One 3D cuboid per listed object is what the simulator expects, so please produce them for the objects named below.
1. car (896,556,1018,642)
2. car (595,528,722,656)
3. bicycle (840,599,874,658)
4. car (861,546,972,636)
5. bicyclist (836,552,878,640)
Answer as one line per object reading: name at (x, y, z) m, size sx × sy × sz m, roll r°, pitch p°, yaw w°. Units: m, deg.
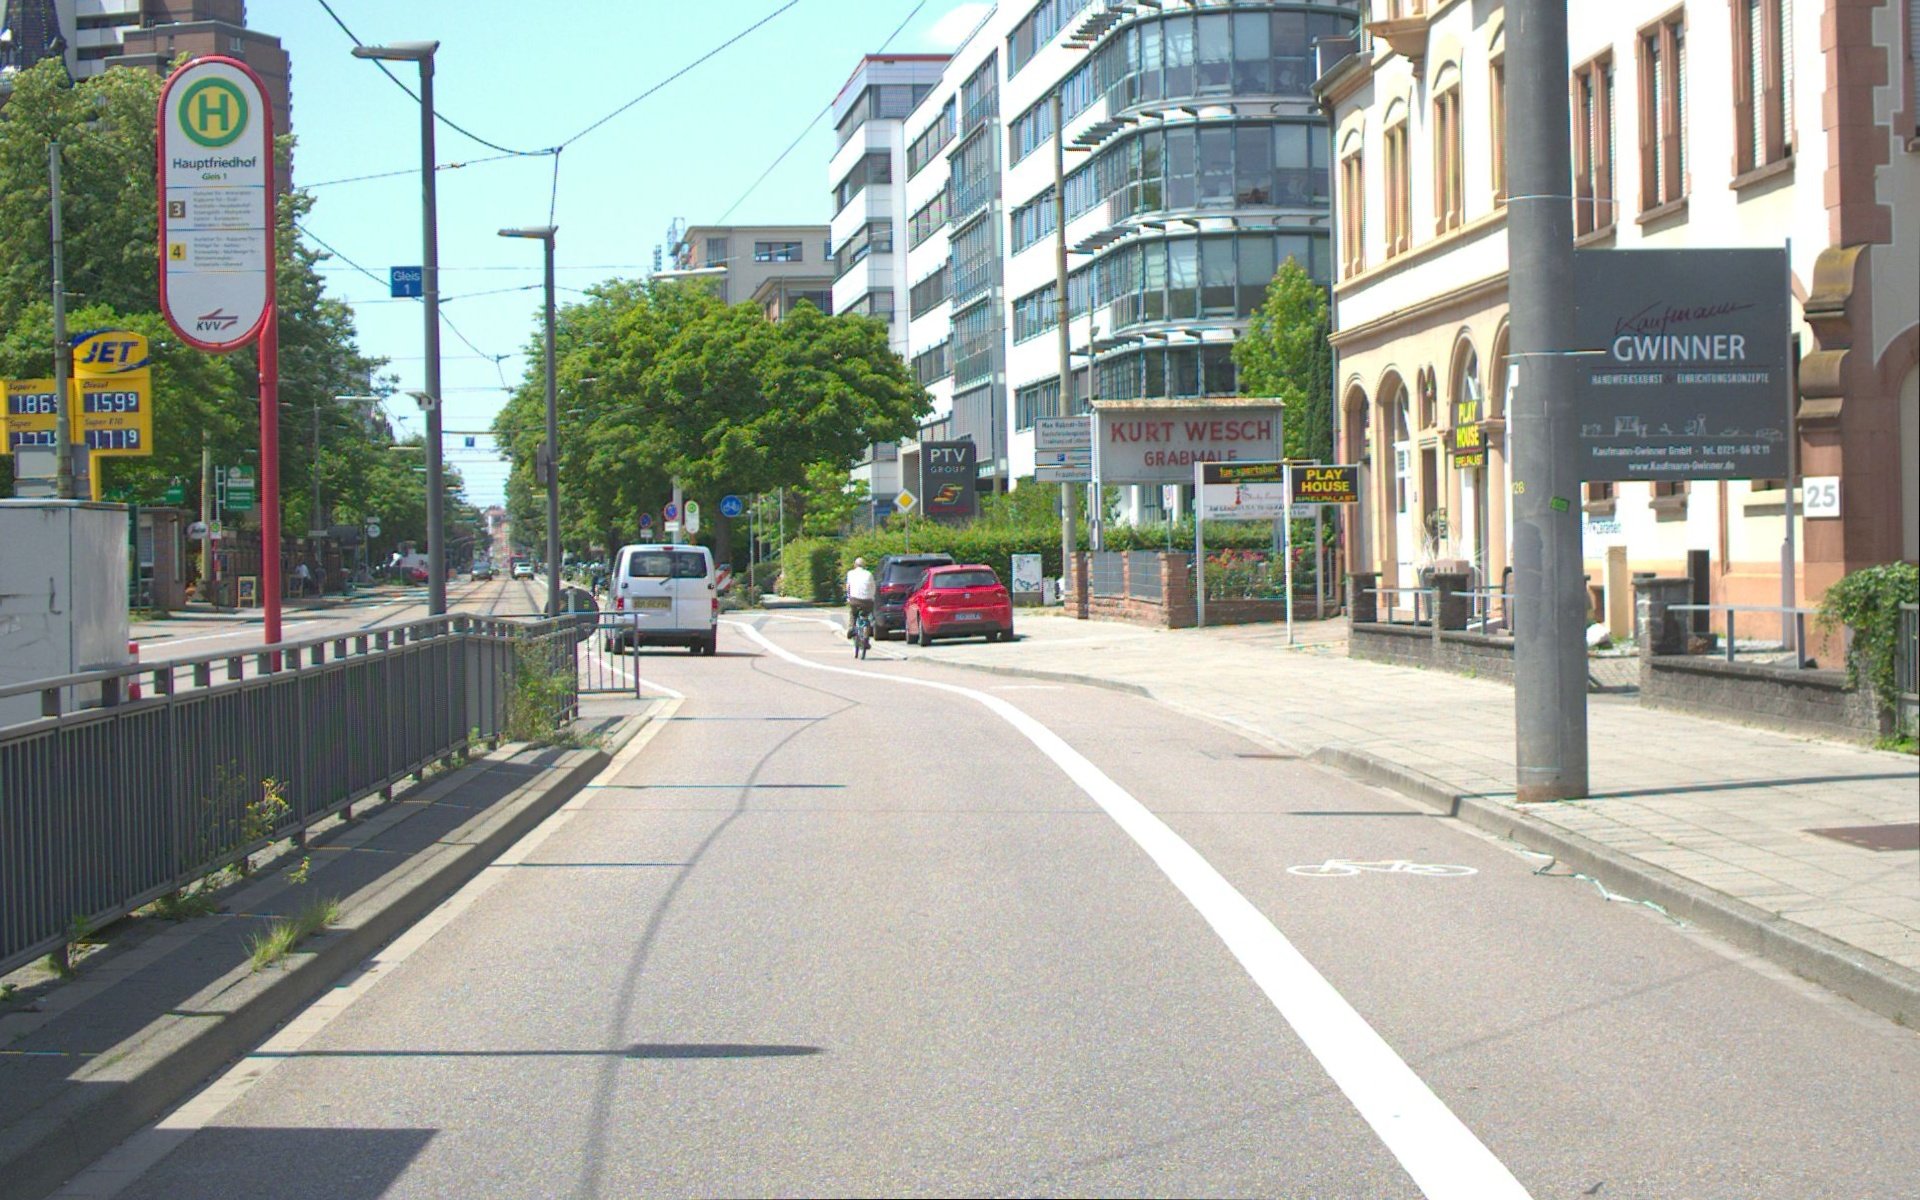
car at (-0.094, -0.051, 63.915) m, size 1.711 × 1.448 × 4.073 m, roll -3°, pitch 1°, yaw -7°
car at (-5.140, -0.172, 58.157) m, size 1.752 × 2.006 × 4.001 m, roll -2°, pitch 2°, yaw -9°
bicycle at (-1.668, 0.451, 55.685) m, size 0.465 × 0.884 × 2.048 m, roll -1°, pitch 1°, yaw -4°
car at (-0.920, -0.217, 69.788) m, size 1.863 × 1.681 × 5.001 m, roll -2°, pitch 1°, yaw -5°
bicyclist at (-1.673, -0.069, 55.637) m, size 0.591 × 1.392 × 0.842 m, roll -1°, pitch 1°, yaw -7°
